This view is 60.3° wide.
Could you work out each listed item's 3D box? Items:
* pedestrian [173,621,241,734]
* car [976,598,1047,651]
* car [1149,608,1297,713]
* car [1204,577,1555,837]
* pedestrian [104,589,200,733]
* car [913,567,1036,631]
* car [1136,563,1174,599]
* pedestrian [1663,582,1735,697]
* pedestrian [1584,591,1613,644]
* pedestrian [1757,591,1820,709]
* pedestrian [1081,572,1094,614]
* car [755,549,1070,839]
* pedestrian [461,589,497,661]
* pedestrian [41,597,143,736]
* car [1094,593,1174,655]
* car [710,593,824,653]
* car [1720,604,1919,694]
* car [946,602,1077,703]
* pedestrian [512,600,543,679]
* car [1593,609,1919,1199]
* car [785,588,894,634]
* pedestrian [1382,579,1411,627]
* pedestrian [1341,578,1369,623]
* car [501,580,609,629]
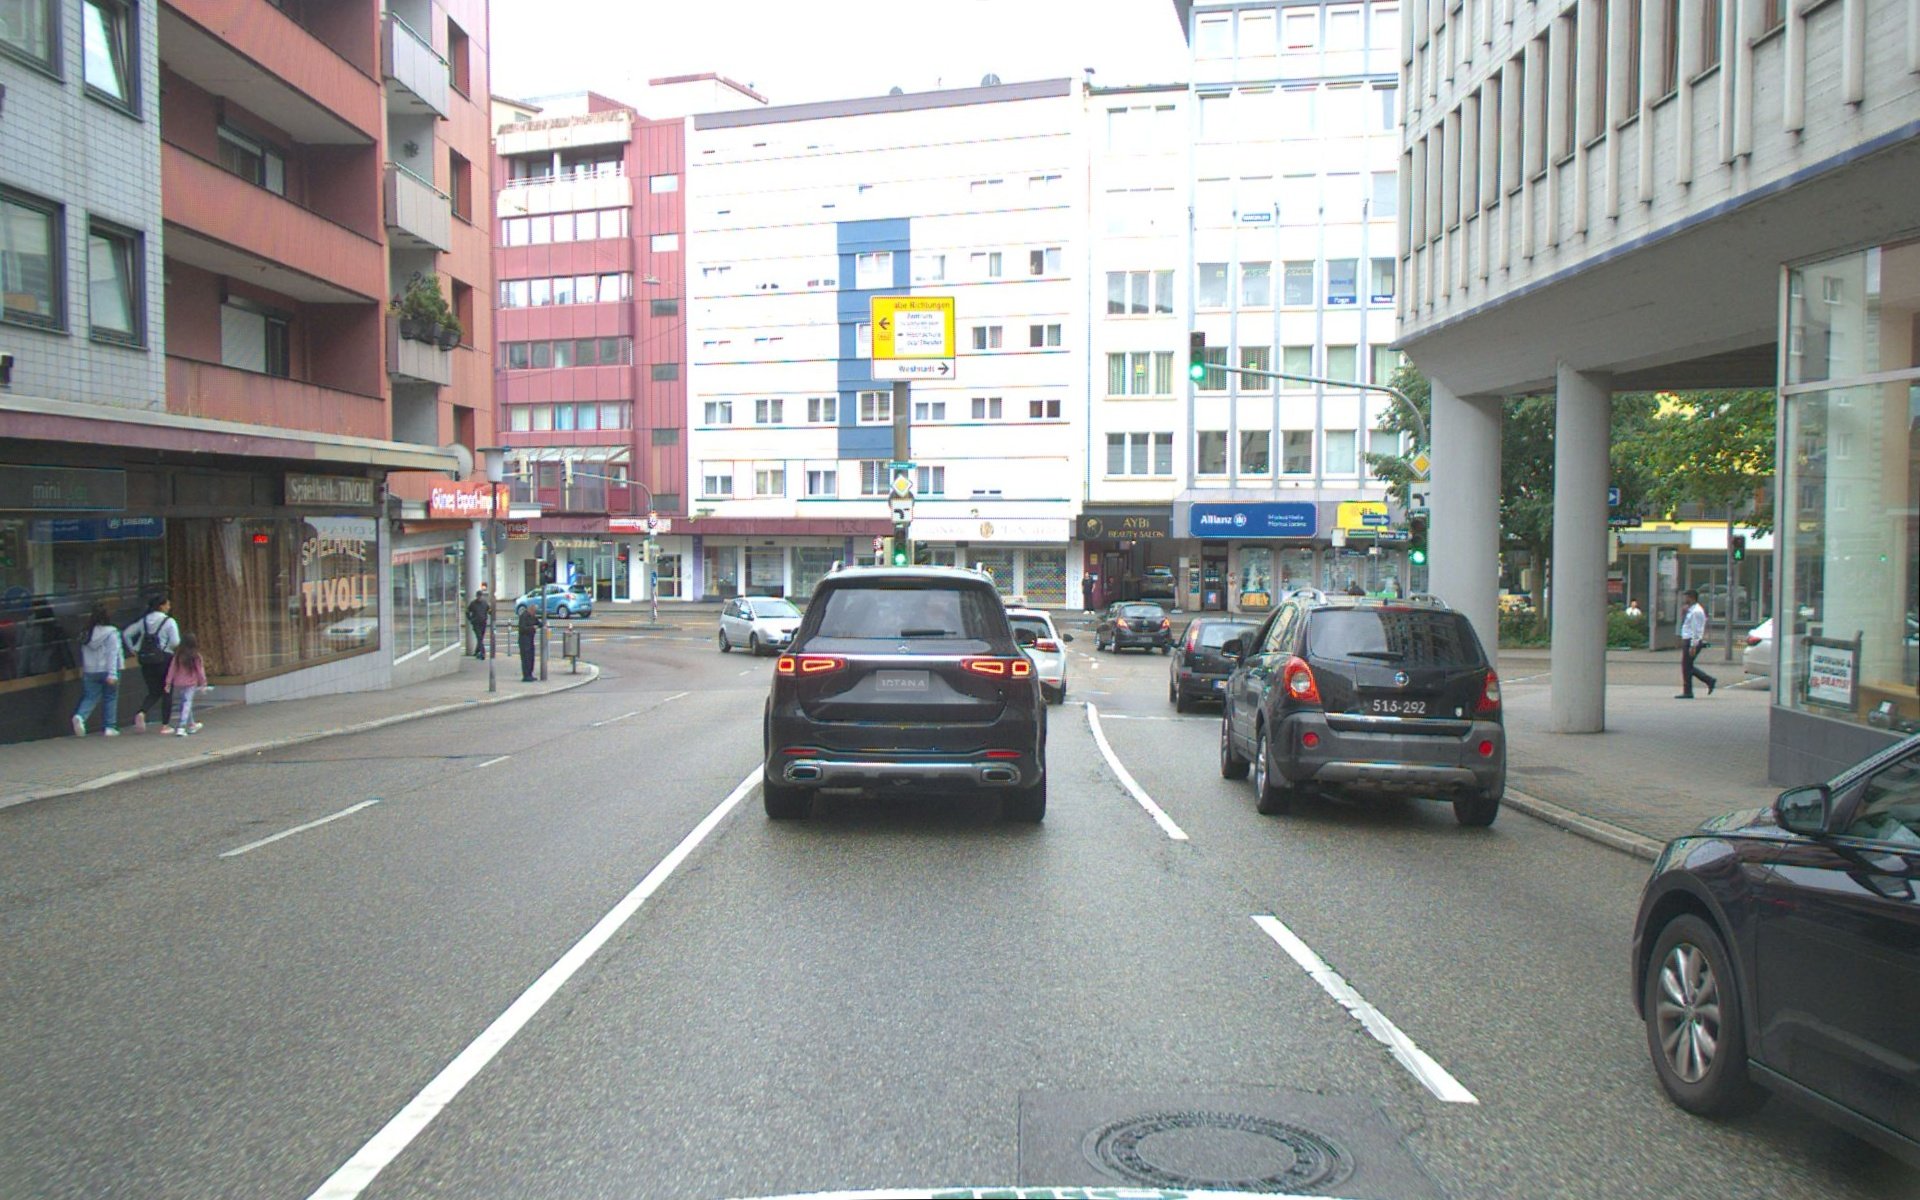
[{"bbox_3d":[-9.308,0.945,20.468,0.523,1.346,0.722,3,-1,-9],"label":"pedestrian"},{"bbox_3d":[1.492,0.702,48.939,1.953,1.512,4.236,0,0,0],"label":"car"},{"bbox_3d":[4.103,0.901,26.347,1.730,1.421,4.001,4,0,1],"label":"car"},{"bbox_3d":[3.309,0.771,13.998,1.858,1.724,4.506,4,0,2],"label":"car"},{"bbox_3d":[-9.993,0.741,20.473,0.812,1.719,0.722,3,-1,-9],"label":"pedestrian"},{"bbox_3d":[0.480,-0.043,63.101,2.220,2.267,5.372,2,-1,-31],"label":"car"},{"bbox_3d":[9.655,-0.913,81.774,1.759,1.699,4.003,0,0,8],"label":"car"},{"bbox_3d":[12.211,0.644,27.346,0.707,1.850,0.829,-1,-1,-7],"label":"pedestrian"},{"bbox_3d":[23.232,0.636,60.212,0.807,1.859,0.890,3,1,27],"label":"pedestrian"},{"bbox_3d":[12.376,0.736,24.727,0.706,1.719,0.830,-2,-1,21],"label":"pedestrian"},{"bbox_3d":[5.407,-0.311,70.212,0.552,1.717,0.757,0,6,6],"label":"pedestrian"},{"bbox_3d":[-0.377,0.614,13.090,1.998,1.830,4.661,2,0,-2],"label":"car"},{"bbox_3d":[-12.794,0.657,44.000,0.751,1.881,0.836,1,0,-27],"label":"pedestrian"},{"bbox_3d":[-10.316,0.783,19.683,0.812,1.588,0.722,3,-1,-9],"label":"pedestrian"},{"bbox_3d":[5.071,0.708,48.591,1.786,1.687,4.494,2,-1,-1],"label":"car"},{"bbox_3d":[-5.652,0.697,48.036,1.718,1.620,4.131,-1,-1,-31],"label":"car"},{"bbox_3d":[16.286,0.847,29.398,4.764,1.521,1.846,0,0,41],"label":"car"},{"bbox_3d":[0.947,0.826,27.936,1.834,1.521,4.403,2,0,6],"label":"car"},{"bbox_3d":[-9.529,0.866,36.460,0.543,1.727,0.623,1,0,-4],"label":"pedestrian"},{"bbox_3d":[3.173,0.835,3.897,1.654,1.502,3.998,4,0,-2],"label":"car"},{"bbox_3d":[-4.548,0.390,61.811,1.909,1.542,4.603,4,-2,-36],"label":"car"},{"bbox_3d":[17.280,0.114,65.517,1.008,1.830,0.831,0,6,8],"label":"pedestrian"},{"bbox_3d":[15.899,0.027,66.573,1.008,1.717,0.831,0,6,8],"label":"pedestrian"},{"bbox_3d":[-17.581,0.182,71.764,4.078,1.870,1.999,3,0,23],"label":"car"}]
